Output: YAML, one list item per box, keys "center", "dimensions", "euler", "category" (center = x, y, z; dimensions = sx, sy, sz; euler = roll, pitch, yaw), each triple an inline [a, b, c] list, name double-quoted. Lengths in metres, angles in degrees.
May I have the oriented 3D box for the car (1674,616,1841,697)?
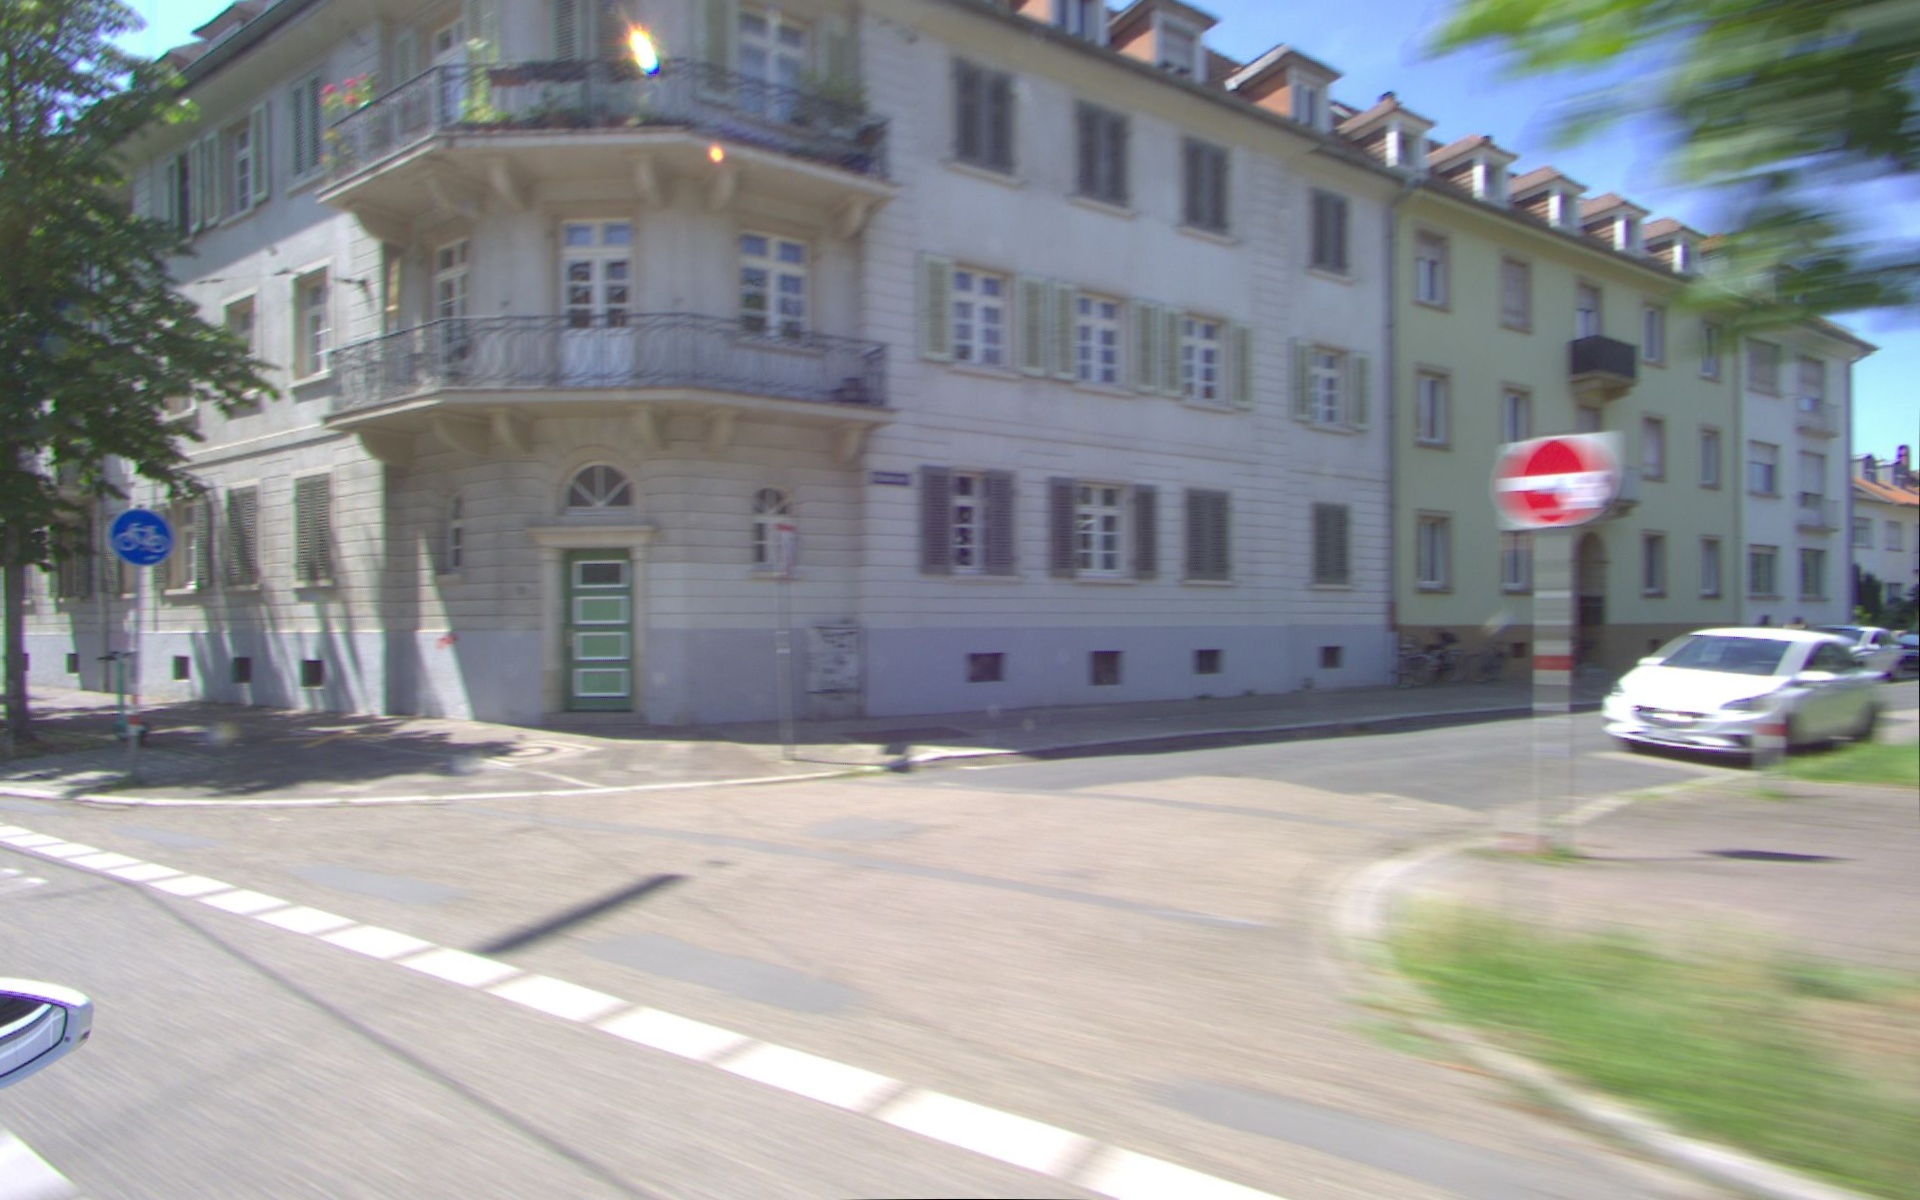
- center: [18.620, 1.255, 23.351]
  dimensions: [3.948, 1.731, 1.987]
  euler: [1, -2, -35]
  category: "car"

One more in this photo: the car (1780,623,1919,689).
- center: [23.737, 1.466, 26.669]
  dimensions: [3.942, 1.623, 1.578]
  euler: [0, -2, -29]
  category: "car"

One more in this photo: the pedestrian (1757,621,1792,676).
- center: [24.837, 1.460, 30.535]
  dimensions: [0.790, 1.638, 0.664]
  euler: [0, 0, -35]
  category: "pedestrian"

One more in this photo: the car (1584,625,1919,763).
- center: [9.742, 1.037, 12.264]
  dimensions: [3.940, 1.438, 1.845]
  euler: [0, -1, -28]
  category: "car"

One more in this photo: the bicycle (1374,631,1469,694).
- center: [10.076, 1.319, 21.808]
  dimensions: [2.693, 1.279, 0.666]
  euler: [1, 0, -37]
  category: "bicycle"

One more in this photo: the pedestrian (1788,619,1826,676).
- center: [25.454, 1.436, 30.098]
  dimensions: [0.790, 1.685, 0.665]
  euler: [0, -2, -35]
  category: "pedestrian"

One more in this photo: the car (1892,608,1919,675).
- center: [30.893, 1.265, 31.092]
  dimensions: [4.268, 2.039, 1.631]
  euler: [0, -1, -29]
  category: "car"

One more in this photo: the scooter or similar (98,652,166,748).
- center: [-10.595, 1.257, 12.806]
  dimensions: [1.234, 1.176, 0.295]
  euler: [-1, -1, 32]
  category: "scooter or similar"
